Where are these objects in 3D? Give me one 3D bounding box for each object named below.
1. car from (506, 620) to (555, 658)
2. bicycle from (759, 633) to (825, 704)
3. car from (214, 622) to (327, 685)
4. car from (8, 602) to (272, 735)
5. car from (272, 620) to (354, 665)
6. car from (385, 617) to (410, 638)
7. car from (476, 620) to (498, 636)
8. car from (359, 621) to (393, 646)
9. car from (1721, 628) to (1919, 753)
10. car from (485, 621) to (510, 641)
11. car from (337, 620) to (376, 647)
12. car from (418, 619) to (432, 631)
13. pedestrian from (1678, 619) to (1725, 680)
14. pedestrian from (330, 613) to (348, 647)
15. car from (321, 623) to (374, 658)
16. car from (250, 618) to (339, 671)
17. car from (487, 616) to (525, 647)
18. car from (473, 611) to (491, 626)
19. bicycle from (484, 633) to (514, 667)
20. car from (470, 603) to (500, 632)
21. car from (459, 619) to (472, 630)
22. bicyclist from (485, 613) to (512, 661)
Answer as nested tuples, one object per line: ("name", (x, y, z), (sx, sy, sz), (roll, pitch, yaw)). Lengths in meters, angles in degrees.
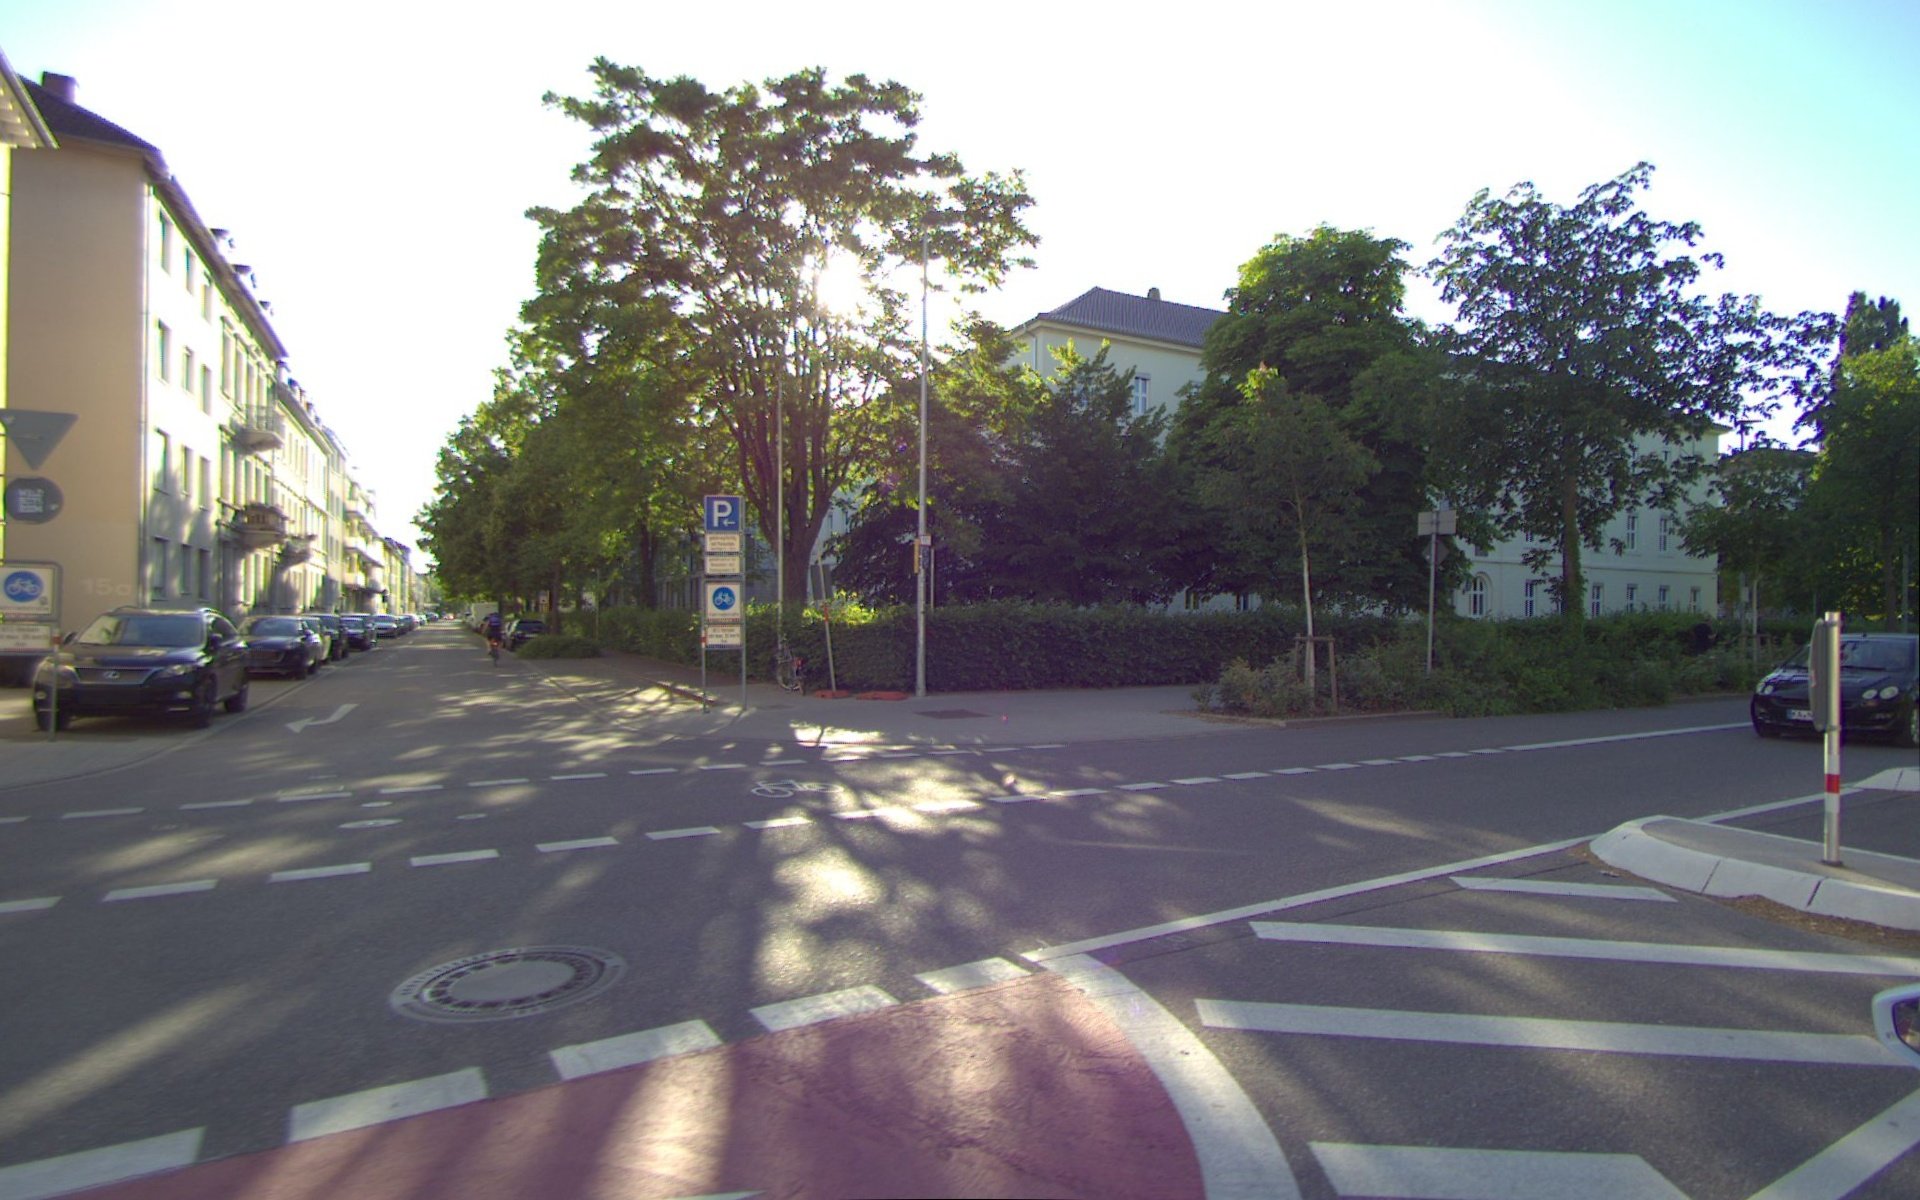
("car", (-20.026, 1.785, 46.788), (1.791, 1.699, 3.718), (1, -2, -28))
("bicycle", (-3.232, 1.270, 19.160), (0.553, 1.246, 2.311), (1, -1, -27))
("car", (-17.386, 1.300, 25.519), (1.934, 1.439, 4.169), (1, -2, -29))
("car", (-12.182, 0.949, 15.336), (2.033, 1.700, 4.561), (1, -2, -25))
("car", (-22.035, 1.414, 34.370), (1.975, 1.439, 3.972), (1, -2, -28))
("car", (-47.869, 2.337, 85.506), (1.804, 1.706, 3.971), (1, -1, -28))
("car", (-40.129, 2.358, 85.176), (1.539, 1.324, 3.453), (1, -1, -28))
("car", (-39.991, 2.280, 68.843), (1.804, 1.706, 3.971), (1, -2, -28))
("car", (12.378, 1.135, 13.756), (3.953, 1.478, 1.750), (1, -1, -30))
("car", (-35.115, 2.322, 76.171), (1.511, 1.445, 3.716), (1, -1, -28))
("car", (-29.476, 1.643, 49.144), (1.459, 1.286, 3.389), (1, -2, -28))
("car", (-76.979, 3.584, 144.511), (1.737, 1.744, 3.972), (1, -1, -27))
("pedestrian", (23.574, 1.561, 31.939), (0.989, 1.876, 0.852), (1, -2, -28))
("pedestrian", (-37.726, 1.796, 61.033), (0.826, 2.040, 0.983), (1, -1, -26))
("car", (-26.663, 1.738, 43.821), (1.789, 1.439, 3.970), (1, -2, -29))
("car", (-19.833, 1.296, 30.092), (1.855, 1.439, 4.238), (1, -2, -29))
("car", (-26.076, 1.777, 57.663), (1.803, 1.706, 3.972), (1, -1, -27))
("car", (-53.910, 2.097, 113.273), (1.738, 1.744, 3.972), (1, -1, -27))
("bicycle", (-14.520, 1.569, 31.602), (0.730, 1.008, 2.094), (1, -3, -28))
("car", (-45.562, 1.709, 96.278), (2.382, 2.681, 5.069), (1, -1, -28))
("car", (-84.780, 4.200, 172.158), (1.740, 1.744, 3.967), (1, -1, -31))
("bicyclist", (-14.548, 1.165, 31.662), (0.730, 1.505, 0.660), (1, -3, -28))
